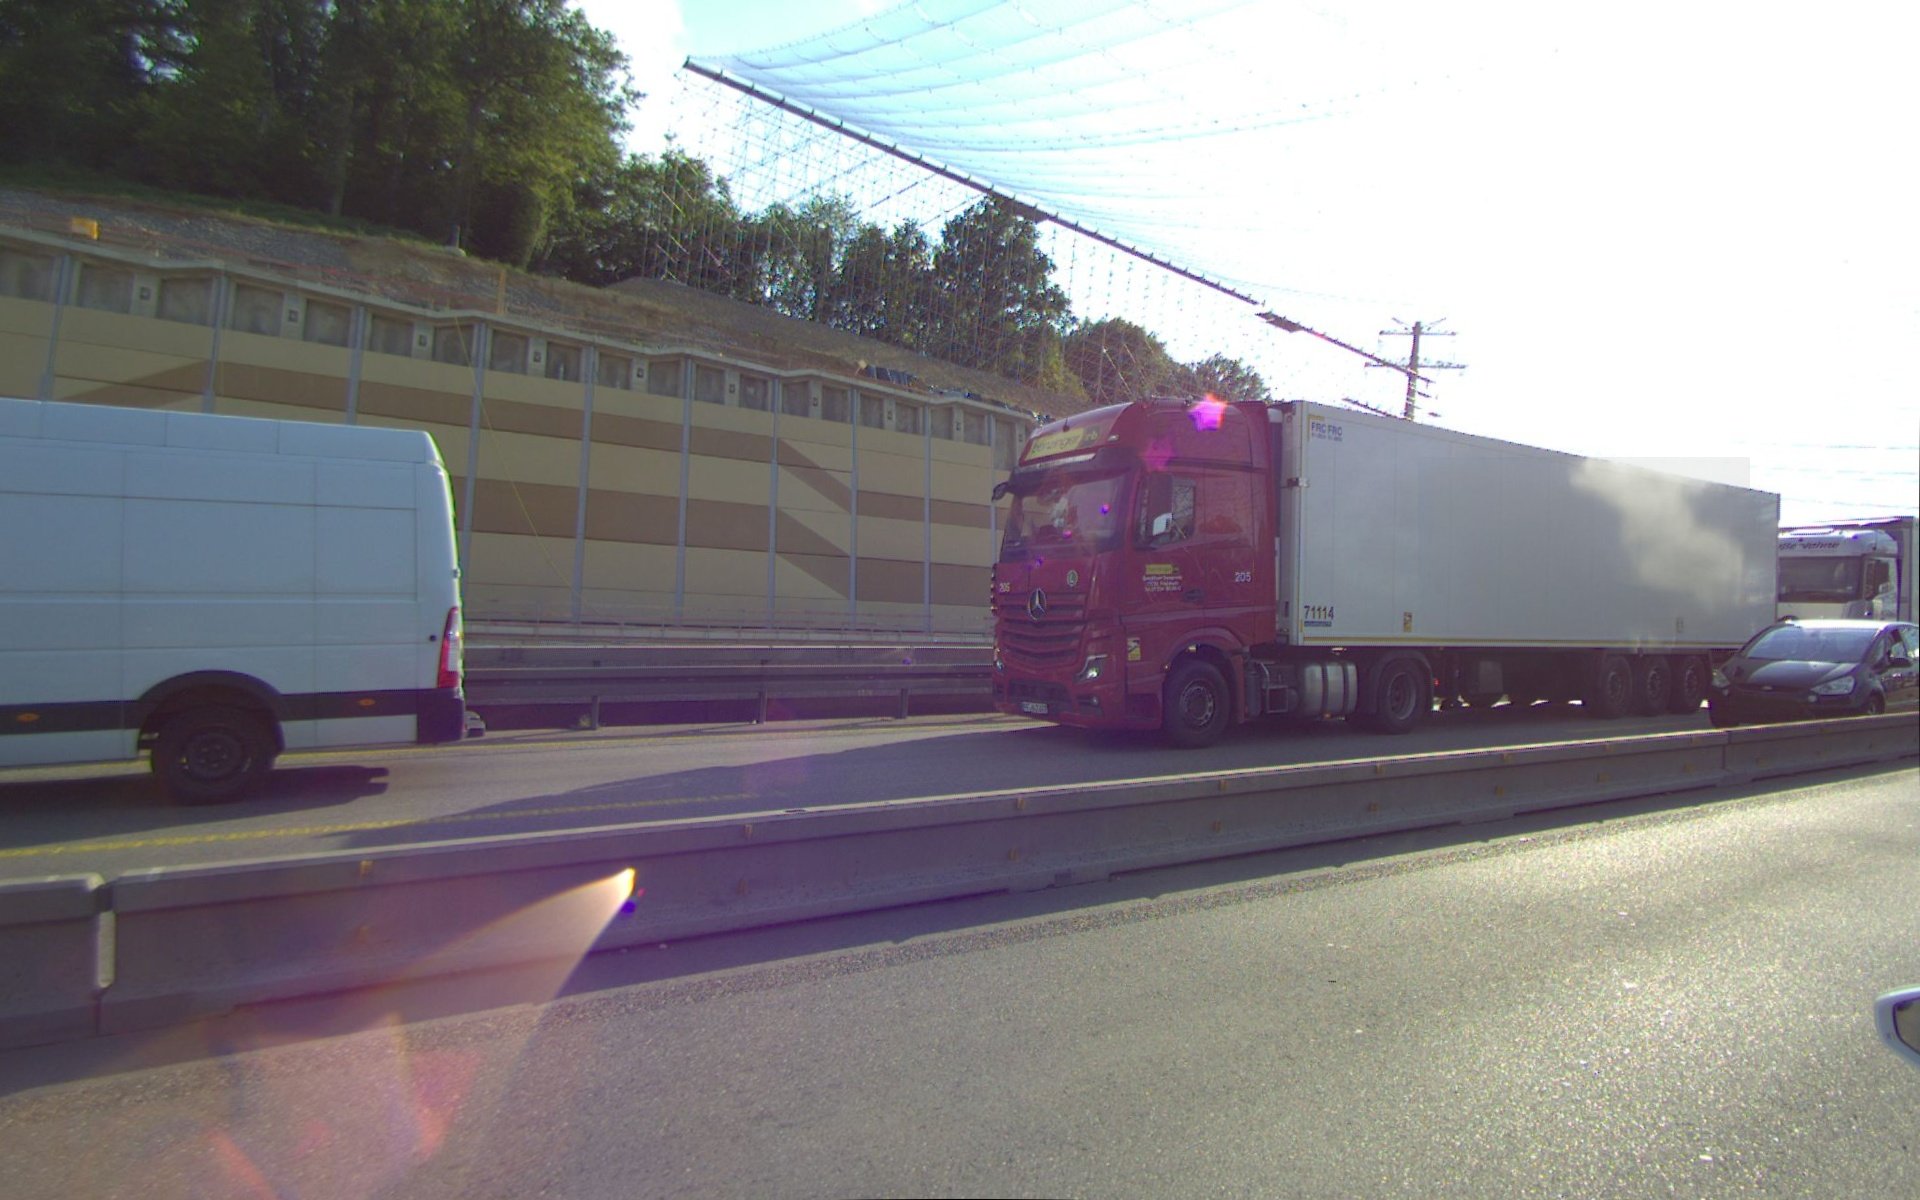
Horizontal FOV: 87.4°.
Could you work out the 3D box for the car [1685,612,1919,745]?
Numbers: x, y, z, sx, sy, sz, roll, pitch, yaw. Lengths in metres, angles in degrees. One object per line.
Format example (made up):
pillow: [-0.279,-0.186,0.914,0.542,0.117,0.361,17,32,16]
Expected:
car: [12.827,1.072,14.811,4.807,1.679,1.743,2,-1,-31]

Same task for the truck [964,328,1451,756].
truck: [3.292,-0.501,12.945,5.868,4.357,2.730,2,-1,-32]

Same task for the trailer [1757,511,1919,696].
trailer: [26.470,0.296,27.700,13.816,4.196,2.783,2,-1,-33]

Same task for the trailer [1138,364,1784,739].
trailer: [9.072,-0.353,16.577,13.727,4.391,2.751,2,-1,-32]

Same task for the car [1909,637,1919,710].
car: [20.873,1.494,19.975,4.837,1.396,1.721,2,1,-32]

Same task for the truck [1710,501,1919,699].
truck: [20.900,0.091,24.087,5.870,4.196,2.771,2,-1,-33]

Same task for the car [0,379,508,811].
car: [-7.015,-0.067,6.927,6.870,2.726,2.011,3,0,-31]
